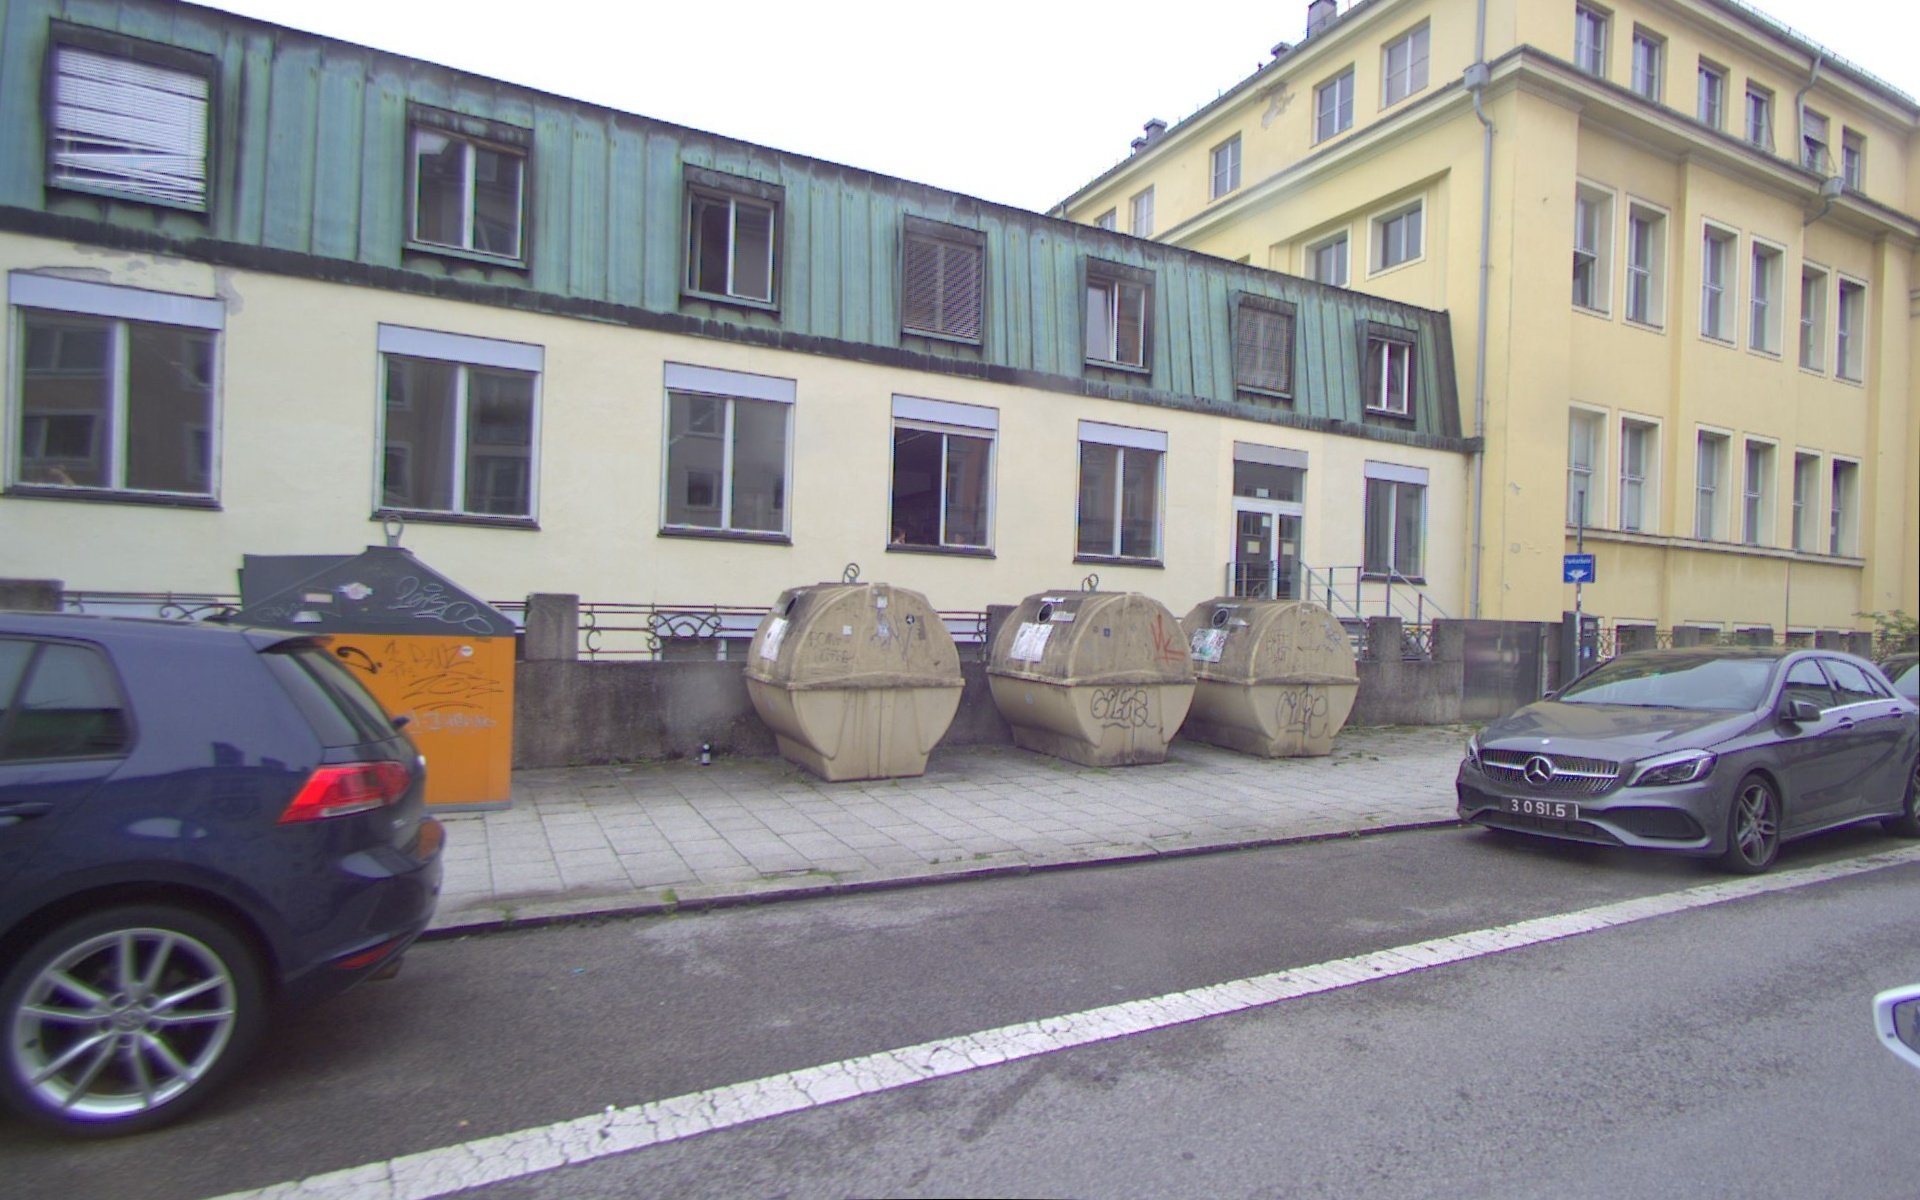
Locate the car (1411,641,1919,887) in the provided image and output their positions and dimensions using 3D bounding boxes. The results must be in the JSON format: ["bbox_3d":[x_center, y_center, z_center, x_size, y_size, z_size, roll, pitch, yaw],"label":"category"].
[{"bbox_3d":[5.534,1.066,7.641,4.078,1.423,1.786,2,-4,-30],"label":"car"}]

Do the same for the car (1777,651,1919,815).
[{"bbox_3d":[9.944,1.242,9.947,3.946,1.423,1.666,2,-4,-32],"label":"car"}]

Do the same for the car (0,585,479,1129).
[{"bbox_3d":[-3.673,0.683,3.033,3.947,1.423,1.691,2,-3,-26],"label":"car"}]

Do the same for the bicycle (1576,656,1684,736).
[{"bbox_3d":[10.639,1.516,15.930,1.911,1.188,0.422,2,2,-24],"label":"bicycle"}]
